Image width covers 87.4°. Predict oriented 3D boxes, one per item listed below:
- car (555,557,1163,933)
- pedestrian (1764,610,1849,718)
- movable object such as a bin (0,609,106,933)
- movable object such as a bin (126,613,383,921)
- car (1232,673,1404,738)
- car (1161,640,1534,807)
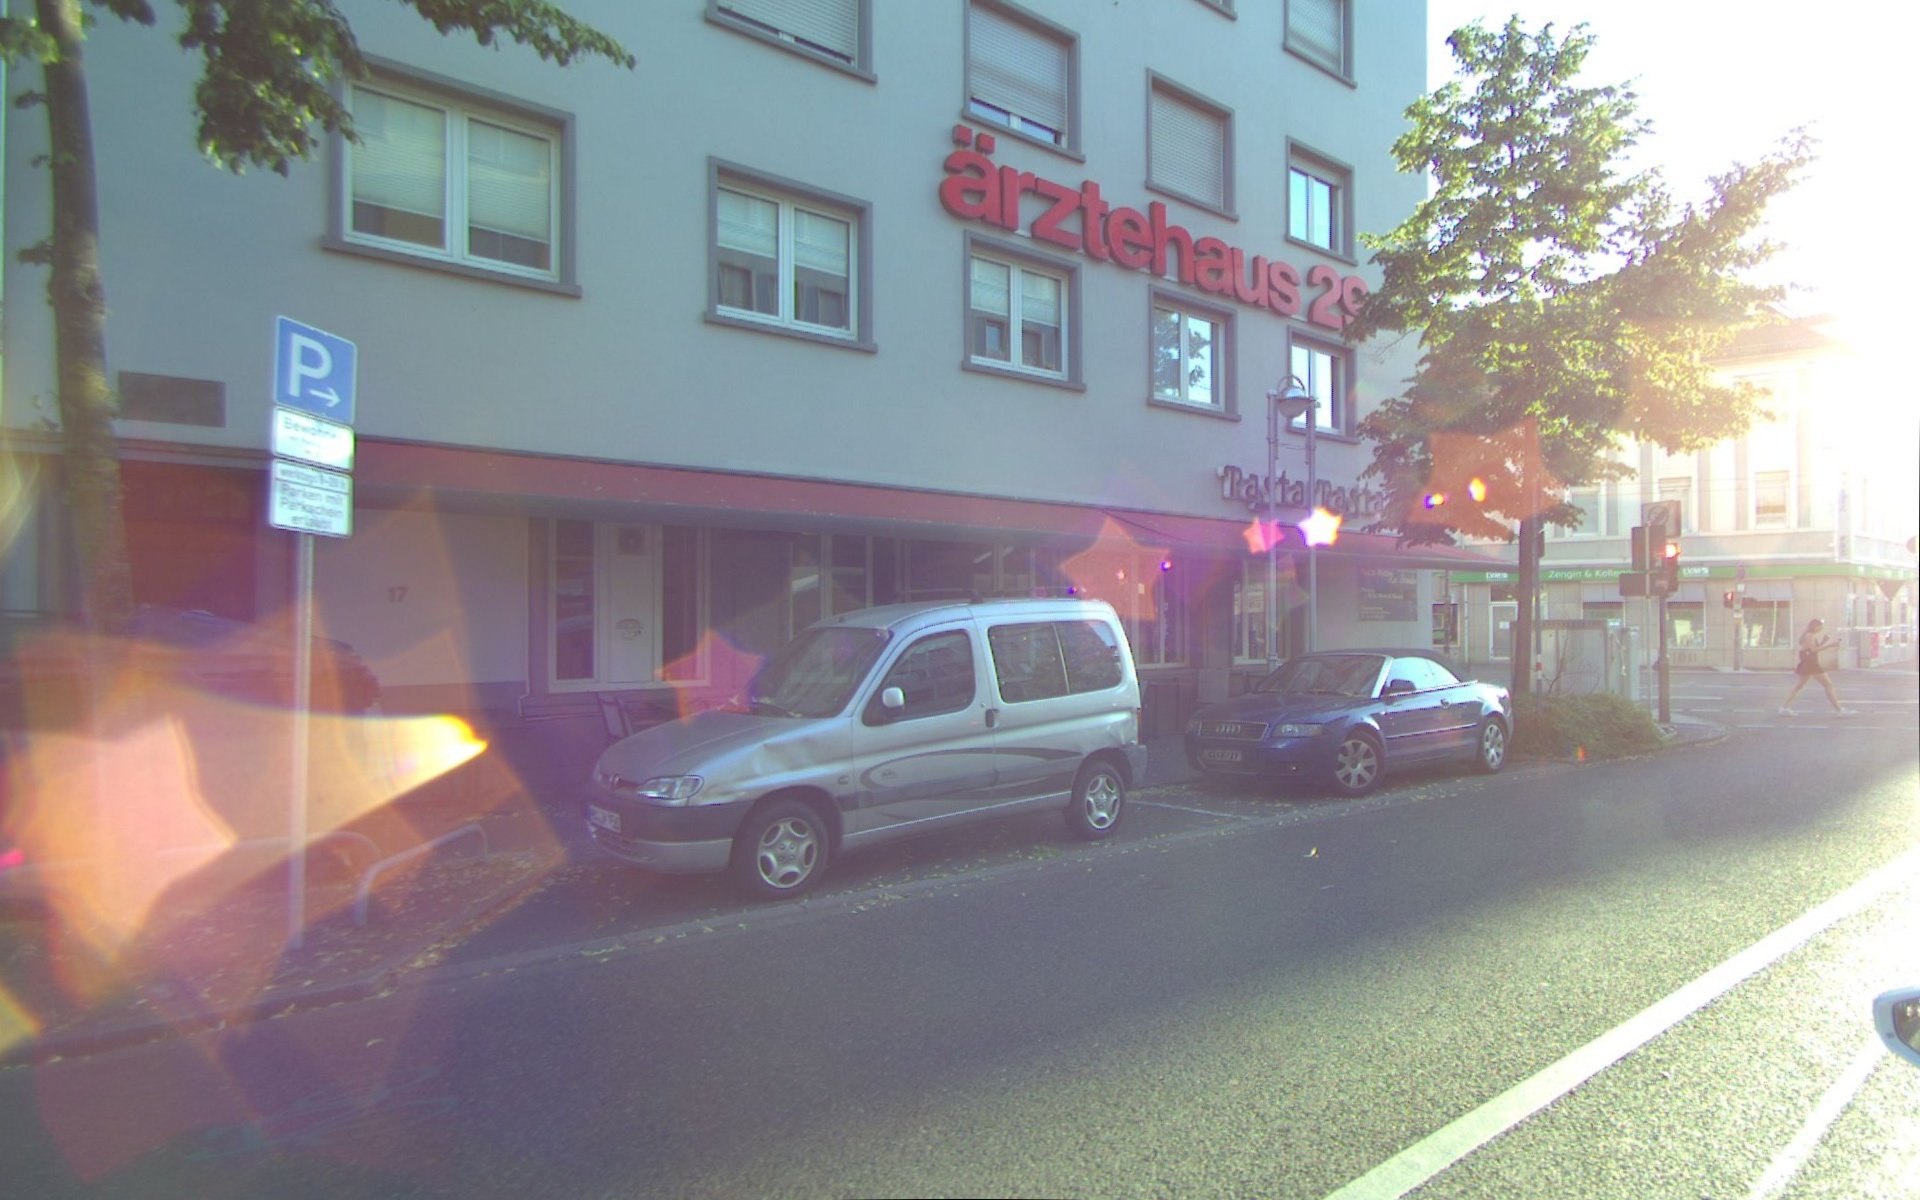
[{"bbox_3d":[-0.529,0.824,7.067,4.020,1.912,1.656,2,-4,-40],"label":"car"},{"bbox_3d":[15.158,1.150,18.011,0.988,1.884,0.638,-4,-3,34],"label":"pedestrian"},{"bbox_3d":[-5.345,0.870,5.241,1.326,1.641,0.774,1,0,-40],"label":"movable object such as a bin"},{"bbox_3d":[-4.275,0.916,6.105,1.198,1.641,0.774,1,1,-40],"label":"movable object such as a bin"},{"bbox_3d":[10.028,2.906,28.201,4.341,1.493,1.814,0,-1,29],"label":"car"},{"bbox_3d":[4.212,1.163,10.653,4.241,1.434,1.711,2,-4,-37],"label":"car"}]
